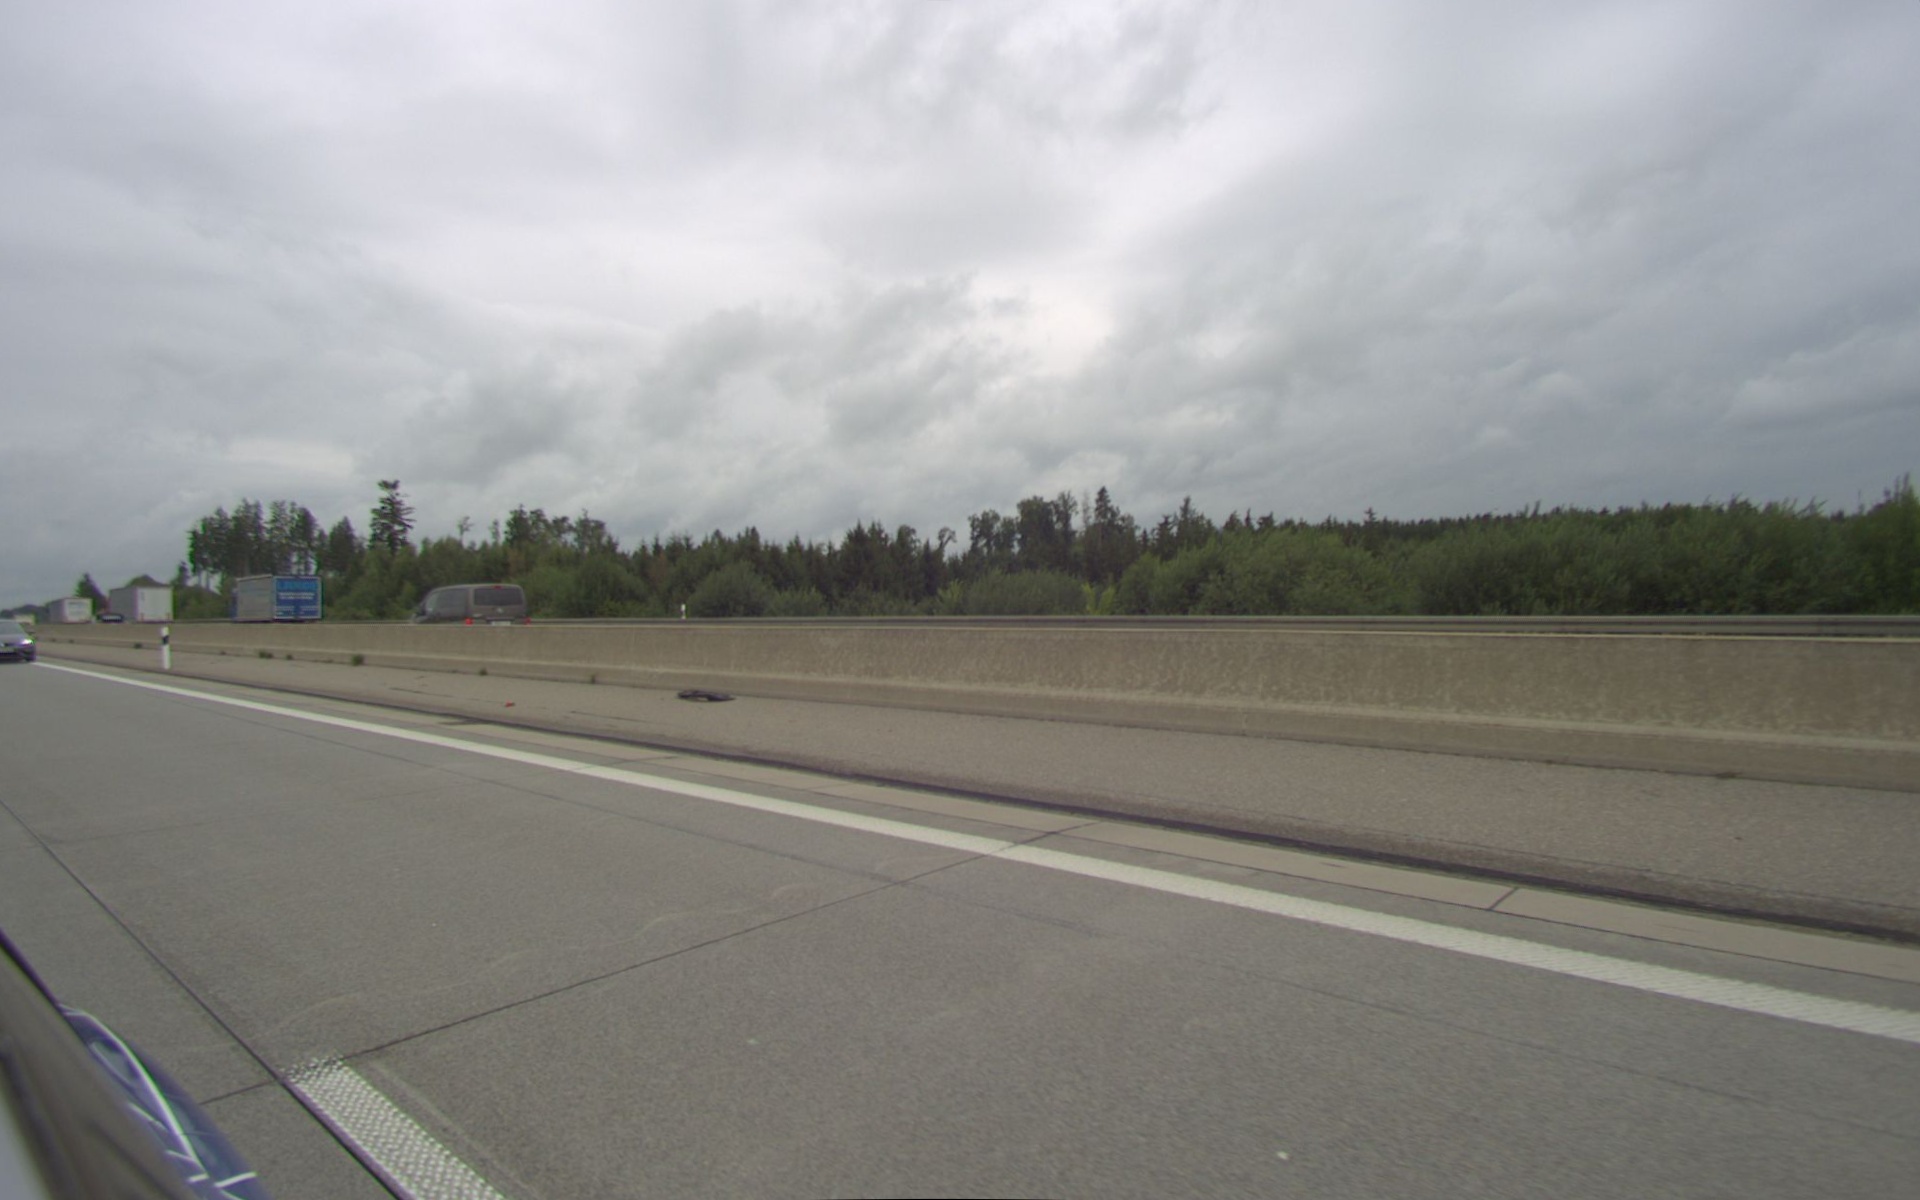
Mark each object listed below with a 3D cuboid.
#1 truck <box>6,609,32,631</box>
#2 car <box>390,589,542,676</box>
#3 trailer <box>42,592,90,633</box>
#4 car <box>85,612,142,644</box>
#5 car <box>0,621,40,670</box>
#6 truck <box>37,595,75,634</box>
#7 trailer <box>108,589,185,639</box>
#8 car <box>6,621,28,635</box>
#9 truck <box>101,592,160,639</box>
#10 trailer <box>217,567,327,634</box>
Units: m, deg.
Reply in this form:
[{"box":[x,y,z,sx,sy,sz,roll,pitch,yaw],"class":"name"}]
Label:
[{"box":[-171.672,3.661,184.567,8.899,3.893,2.867,-2,-1,43],"class":"truck"},{"box":[-13.403,0.854,27.317,4.861,2.163,1.973,-2,-1,41],"class":"car"},{"box":[-106.987,1.584,120.970,13.634,4.660,2.884,-2,-1,43],"class":"trailer"},{"box":[-48.117,1.598,57.496,3.533,1.696,1.973,-2,-1,41],"class":"car"},{"box":[-31.554,1.484,33.061,4.569,1.492,1.766,-2,-1,42],"class":"car"},{"box":[-112.953,1.803,126.436,5.231,4.712,2.897,-2,-1,42],"class":"truck"},{"box":[-73.175,1.340,90.913,12.926,4.233,3.446,-2,-1,43],"class":"trailer"},{"box":[-117.211,3.470,125.792,4.294,1.663,1.597,-2,-1,42],"class":"car"},{"box":[-78.661,1.478,95.956,6.492,4.214,3.433,-2,-1,42],"class":"truck"},{"box":[-43.368,0.164,63.565,12.395,3.866,2.819,-2,-1,42],"class":"trailer"}]
